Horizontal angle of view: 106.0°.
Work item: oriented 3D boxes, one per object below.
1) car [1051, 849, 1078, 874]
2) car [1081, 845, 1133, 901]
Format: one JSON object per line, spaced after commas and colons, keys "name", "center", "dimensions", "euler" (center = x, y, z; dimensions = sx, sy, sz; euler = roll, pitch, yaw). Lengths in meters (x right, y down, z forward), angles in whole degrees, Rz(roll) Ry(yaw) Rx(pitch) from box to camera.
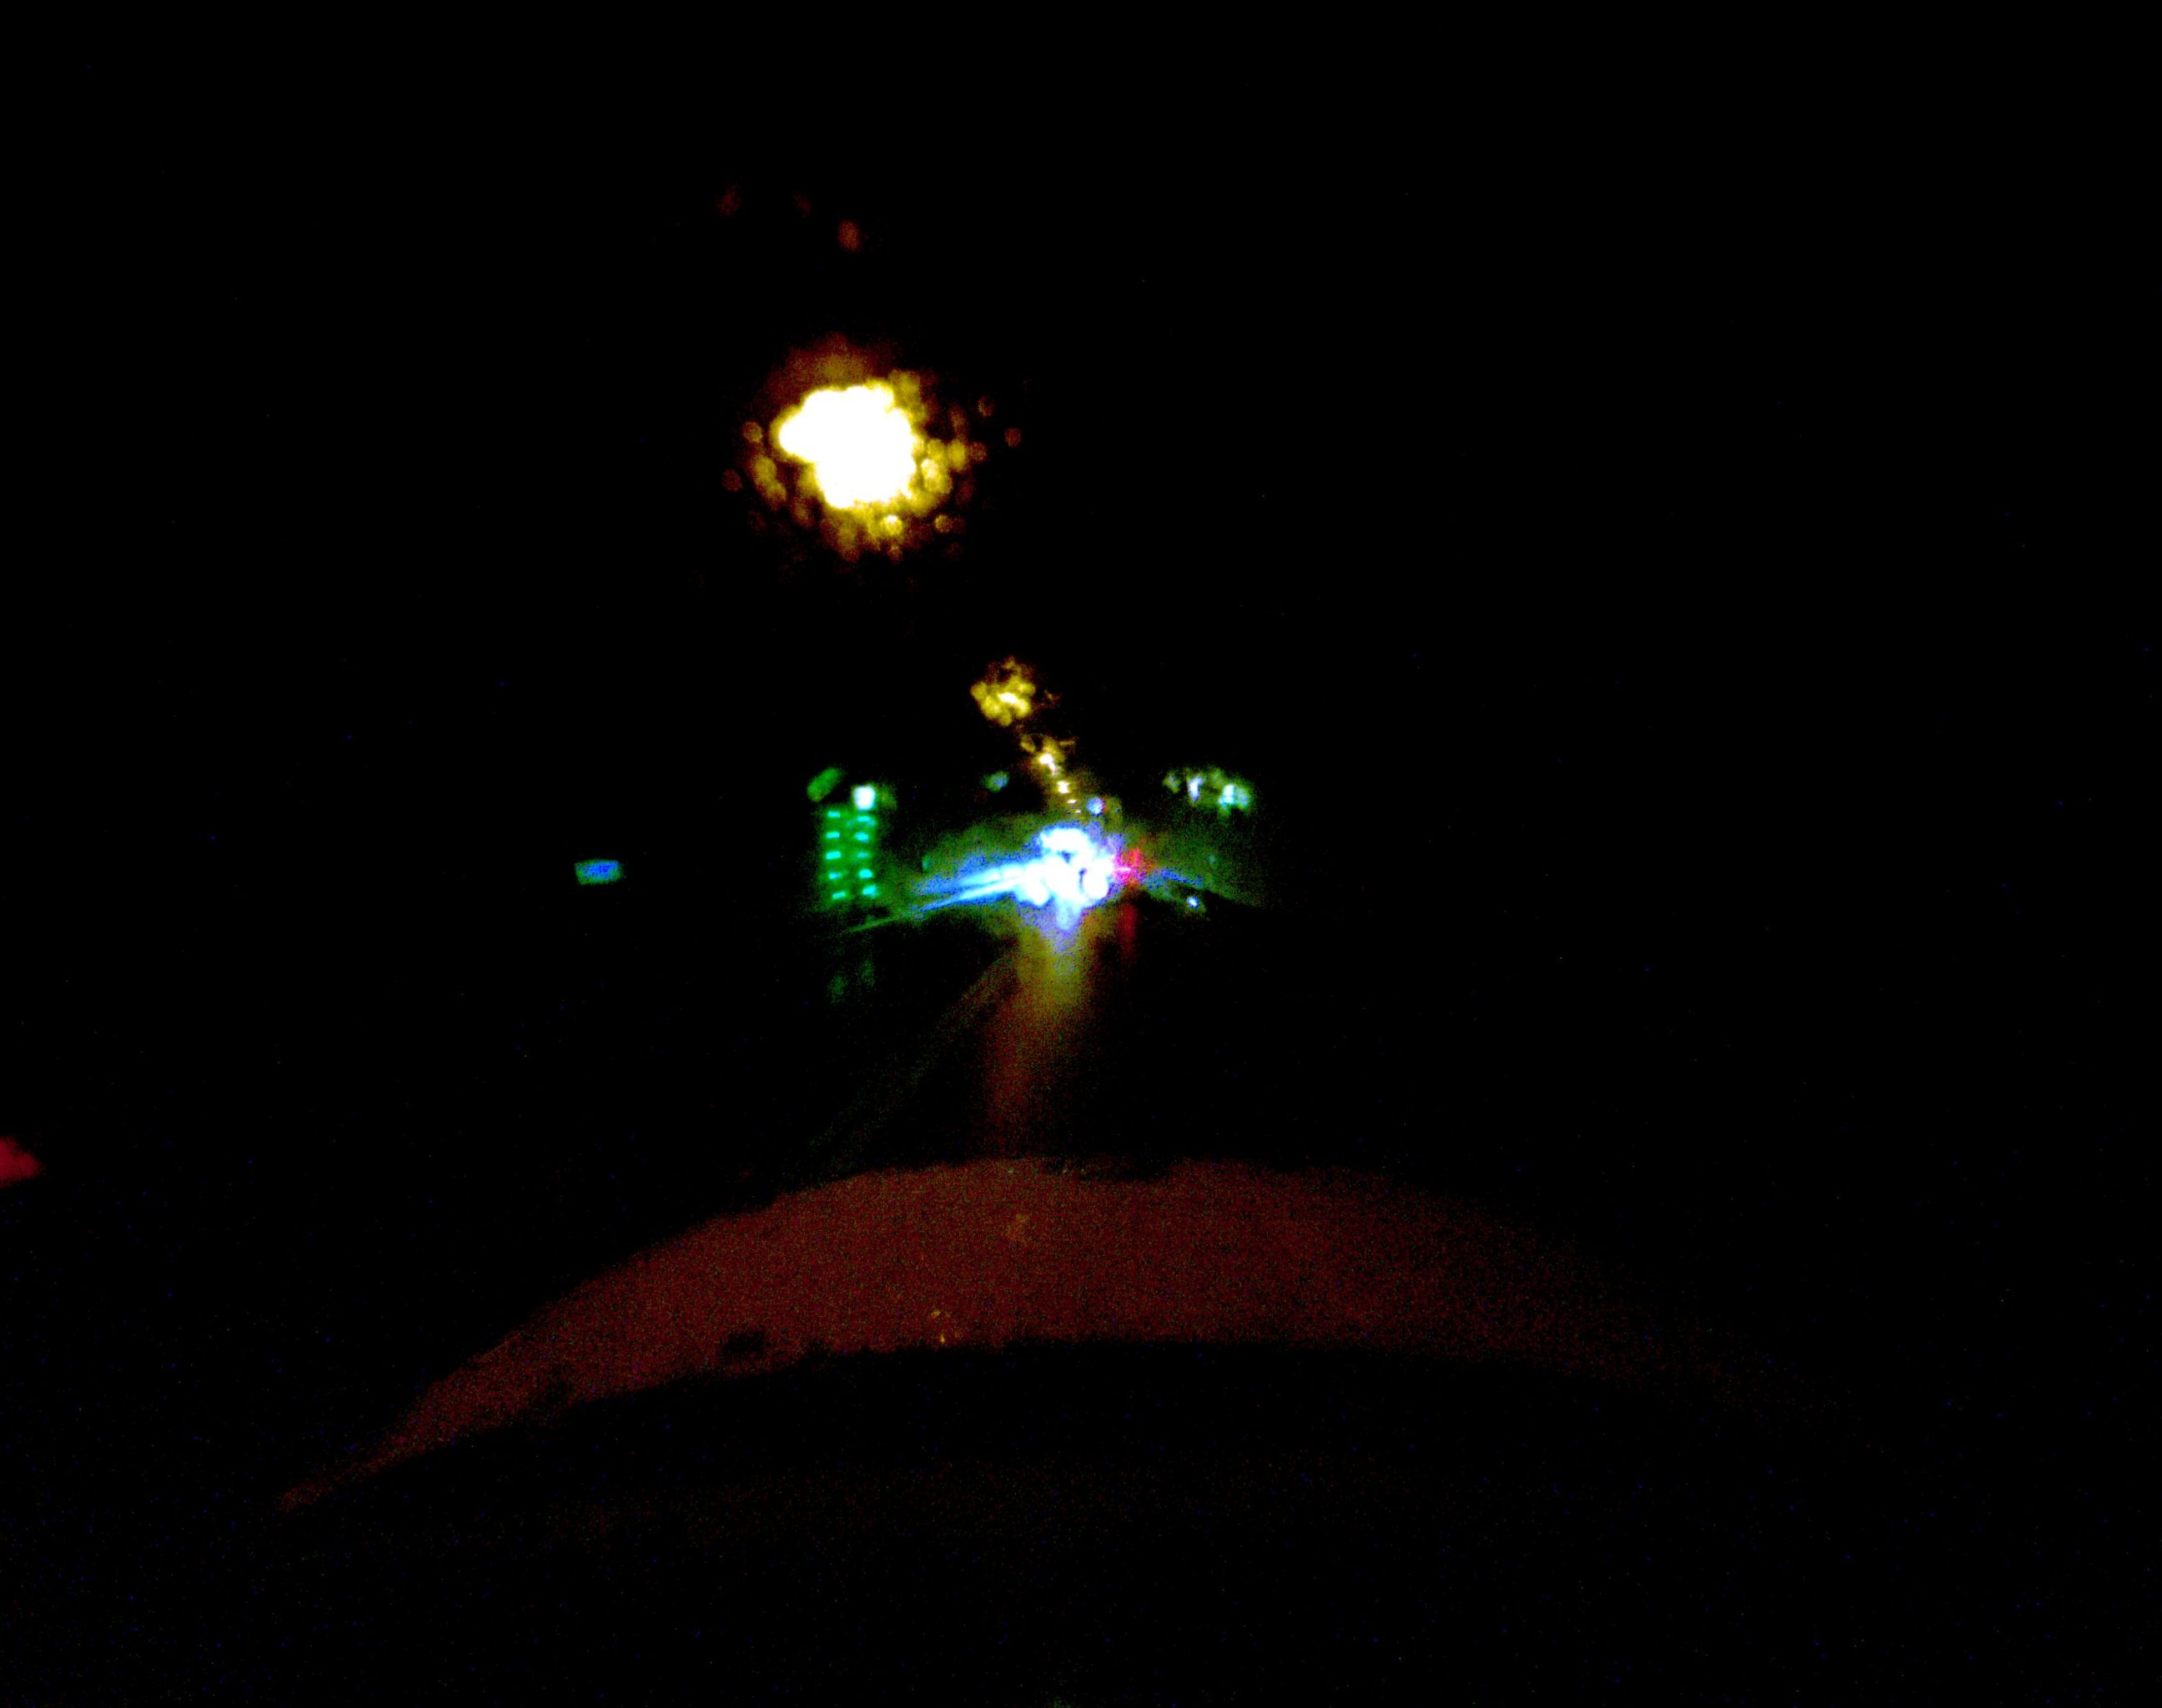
{"name": "car", "center": [-1.406, 0.627, 71.267], "dimensions": [2.204, 2.013, 4.001], "euler": [-2, 1, 1]}
{"name": "car", "center": [0.978, 0.619, 29.026], "dimensions": [1.628, 1.757, 4.149], "euler": [-2, 1, 3]}
